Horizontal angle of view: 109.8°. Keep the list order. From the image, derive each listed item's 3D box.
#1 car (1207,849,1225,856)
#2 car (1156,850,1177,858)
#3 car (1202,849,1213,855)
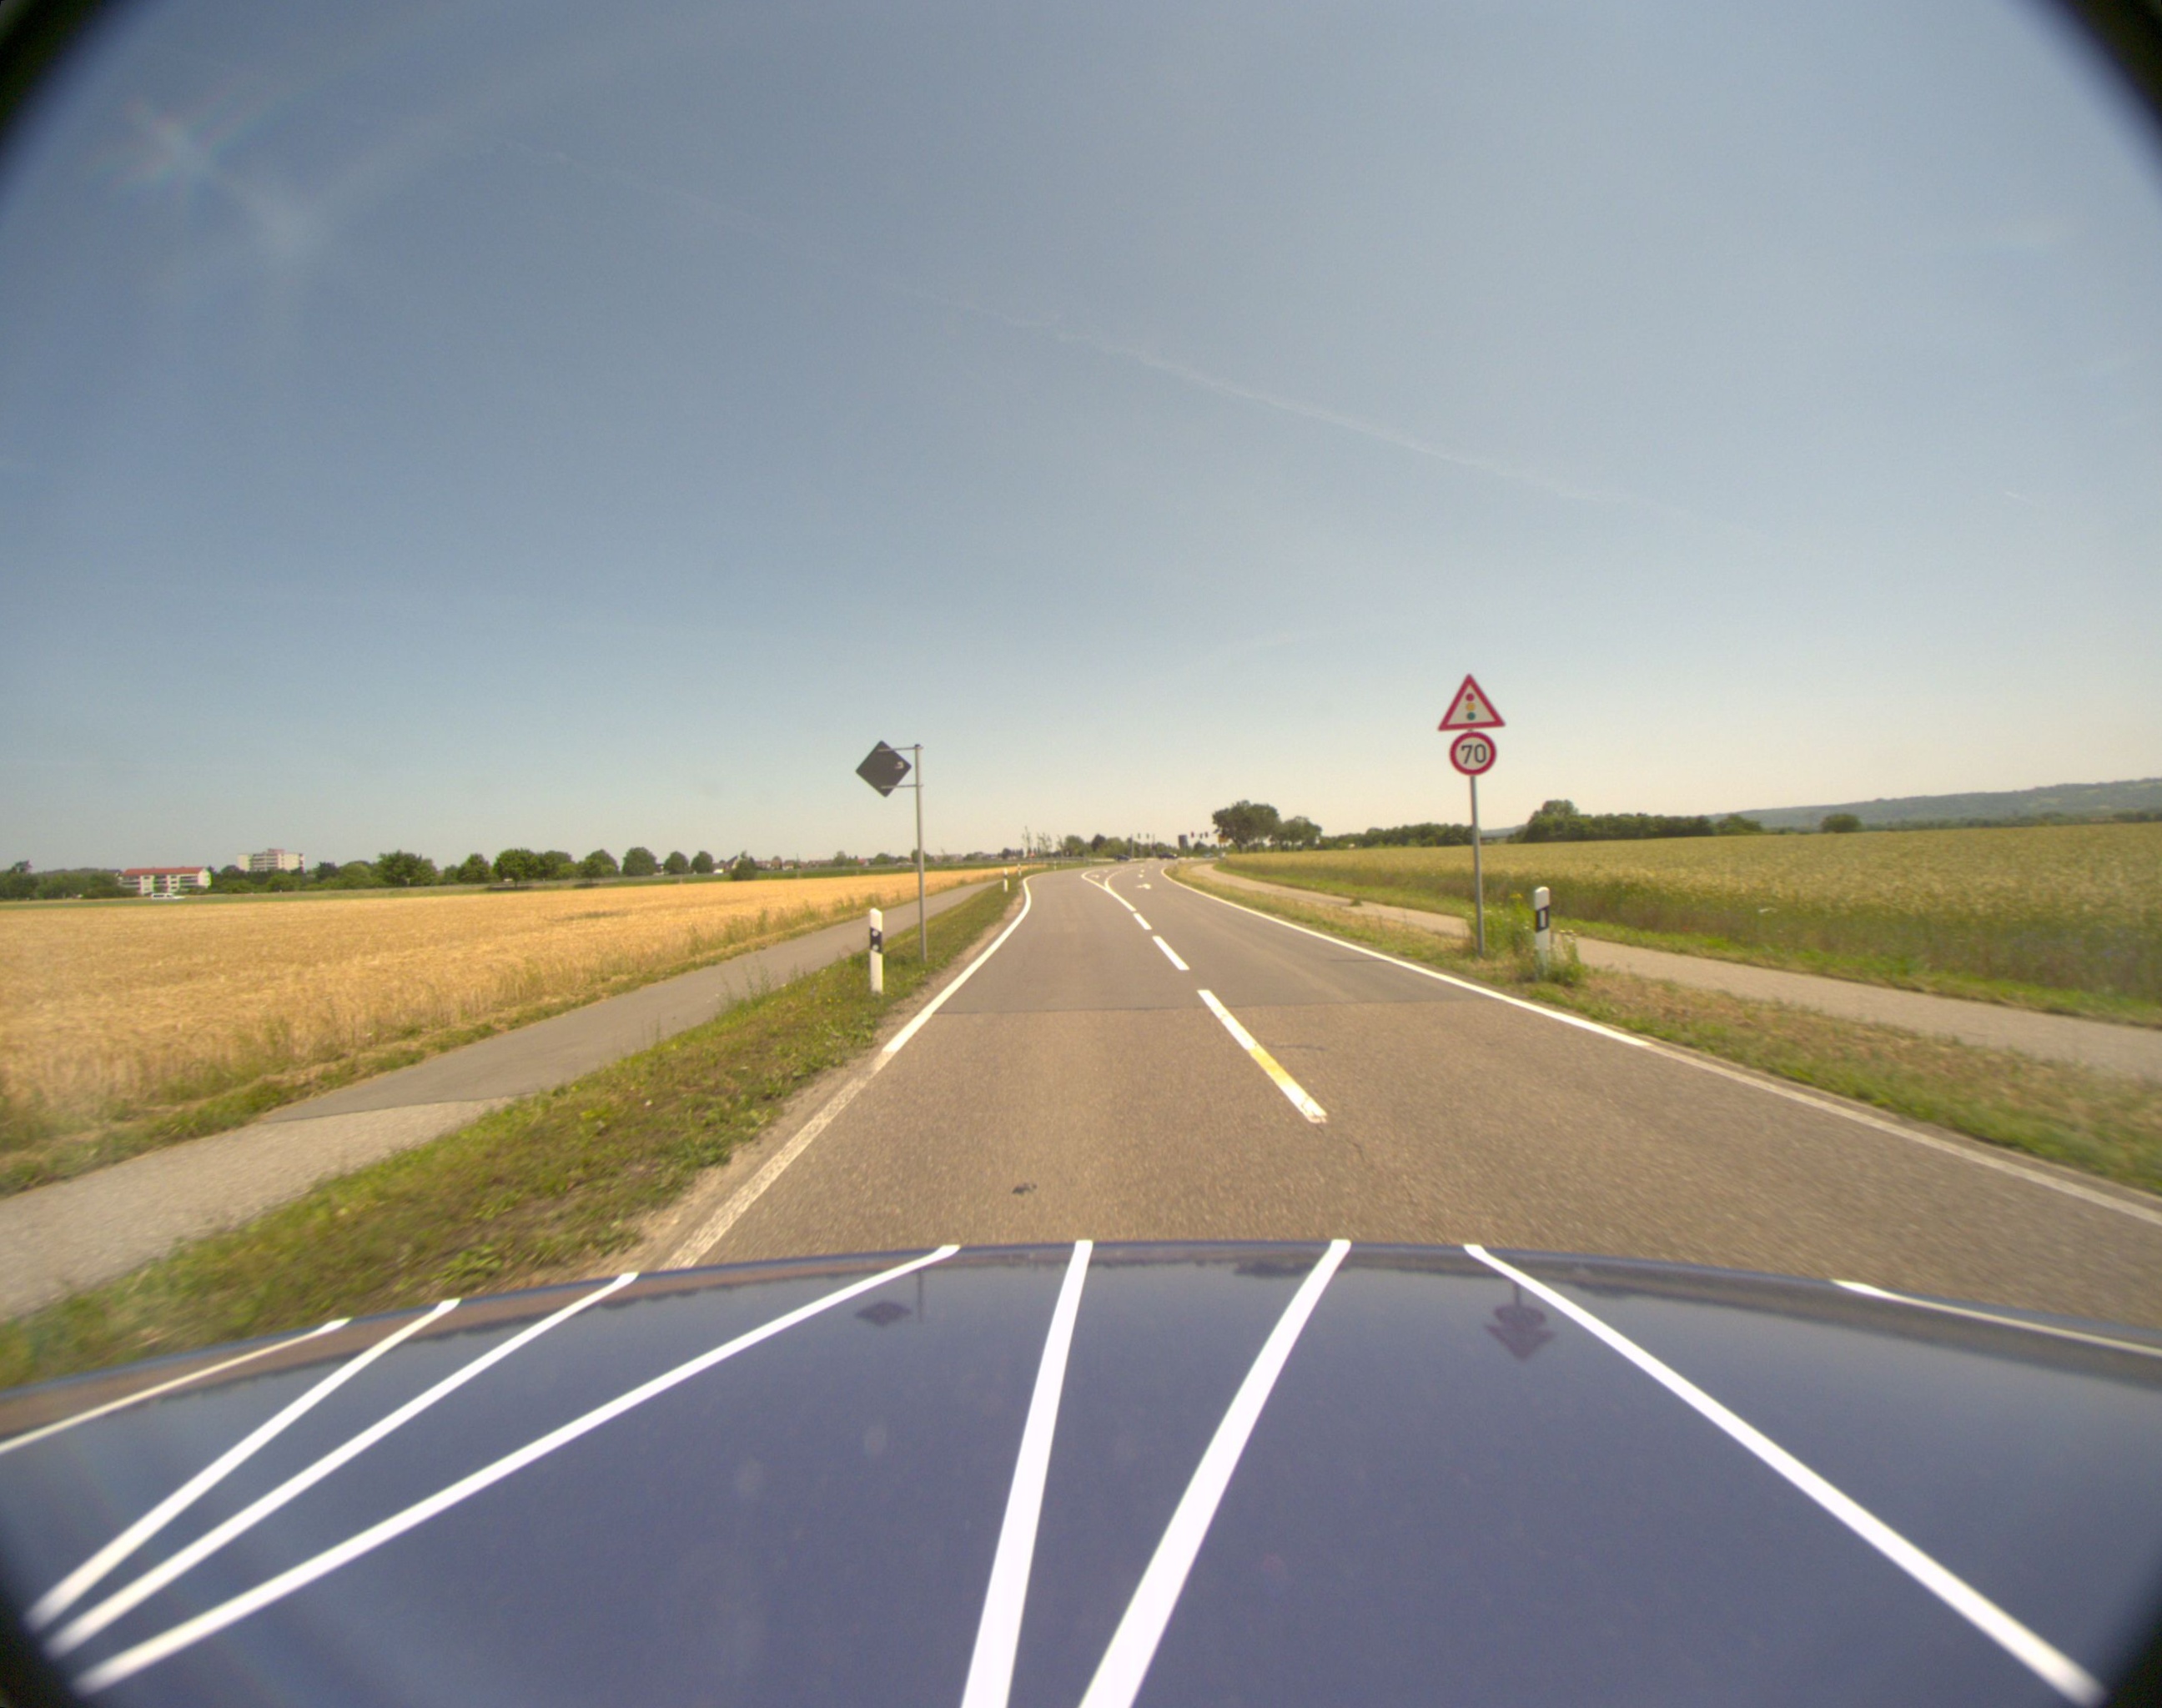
[{"bbox_3d":[32.944,-0.336,185.536,4.158,1.451,1.657,-2,1,-31],"label":"car"},{"bbox_3d":[19.838,-0.026,176.591,4.523,1.631,1.813,-2,1,0],"label":"car"},{"bbox_3d":[33.001,-0.527,198.084,1.654,1.557,4.007,-1,0,28],"label":"car"}]
